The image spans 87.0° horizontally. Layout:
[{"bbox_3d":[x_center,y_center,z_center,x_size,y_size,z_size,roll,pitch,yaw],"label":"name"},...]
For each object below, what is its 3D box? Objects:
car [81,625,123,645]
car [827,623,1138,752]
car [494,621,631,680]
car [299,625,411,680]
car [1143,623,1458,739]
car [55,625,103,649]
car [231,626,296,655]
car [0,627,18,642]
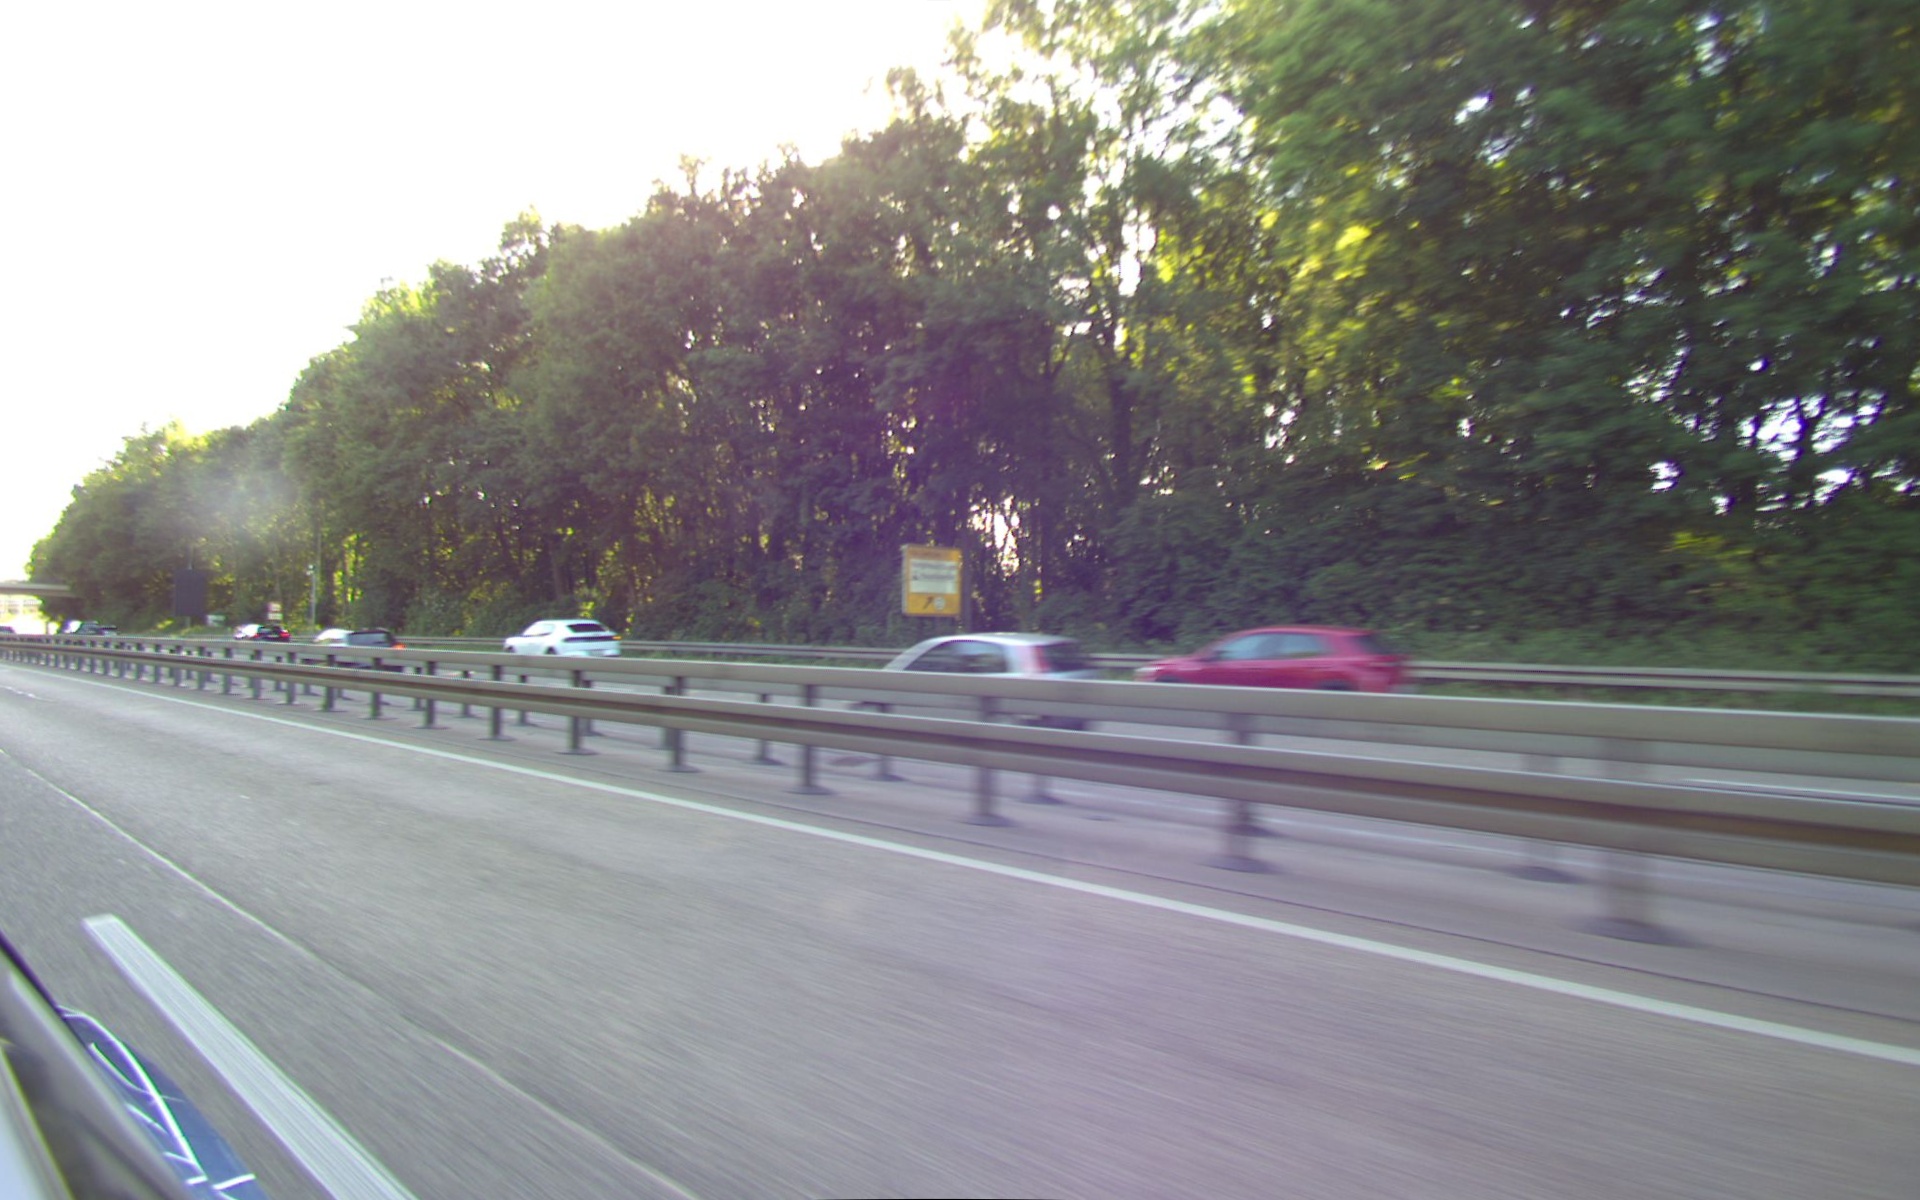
[{"bbox_3d":[-73.839,3.025,87.046,4.704,1.612,1.973,-1,-3,41],"label":"car"},{"bbox_3d":[0.211,1.092,13.890,4.094,1.383,1.706,1,-2,41],"label":"car"},{"bbox_3d":[-12.058,1.488,30.535,4.790,1.635,1.971,-1,-3,44],"label":"car"},{"bbox_3d":[-17.448,1.477,29.120,4.097,1.479,1.705,-1,-3,44],"label":"car"},{"bbox_3d":[4.961,1.102,15.029,3.999,1.475,1.972,-1,-3,42],"label":"car"},{"bbox_3d":[-65.619,2.738,75.371,4.905,1.712,1.973,-1,-3,41],"label":"car"},{"bbox_3d":[-38.395,2.228,55.772,3.997,1.497,1.973,-1,-3,40],"label":"car"},{"bbox_3d":[-99.235,3.550,104.793,4.116,1.551,1.973,-1,-3,41],"label":"car"}]
